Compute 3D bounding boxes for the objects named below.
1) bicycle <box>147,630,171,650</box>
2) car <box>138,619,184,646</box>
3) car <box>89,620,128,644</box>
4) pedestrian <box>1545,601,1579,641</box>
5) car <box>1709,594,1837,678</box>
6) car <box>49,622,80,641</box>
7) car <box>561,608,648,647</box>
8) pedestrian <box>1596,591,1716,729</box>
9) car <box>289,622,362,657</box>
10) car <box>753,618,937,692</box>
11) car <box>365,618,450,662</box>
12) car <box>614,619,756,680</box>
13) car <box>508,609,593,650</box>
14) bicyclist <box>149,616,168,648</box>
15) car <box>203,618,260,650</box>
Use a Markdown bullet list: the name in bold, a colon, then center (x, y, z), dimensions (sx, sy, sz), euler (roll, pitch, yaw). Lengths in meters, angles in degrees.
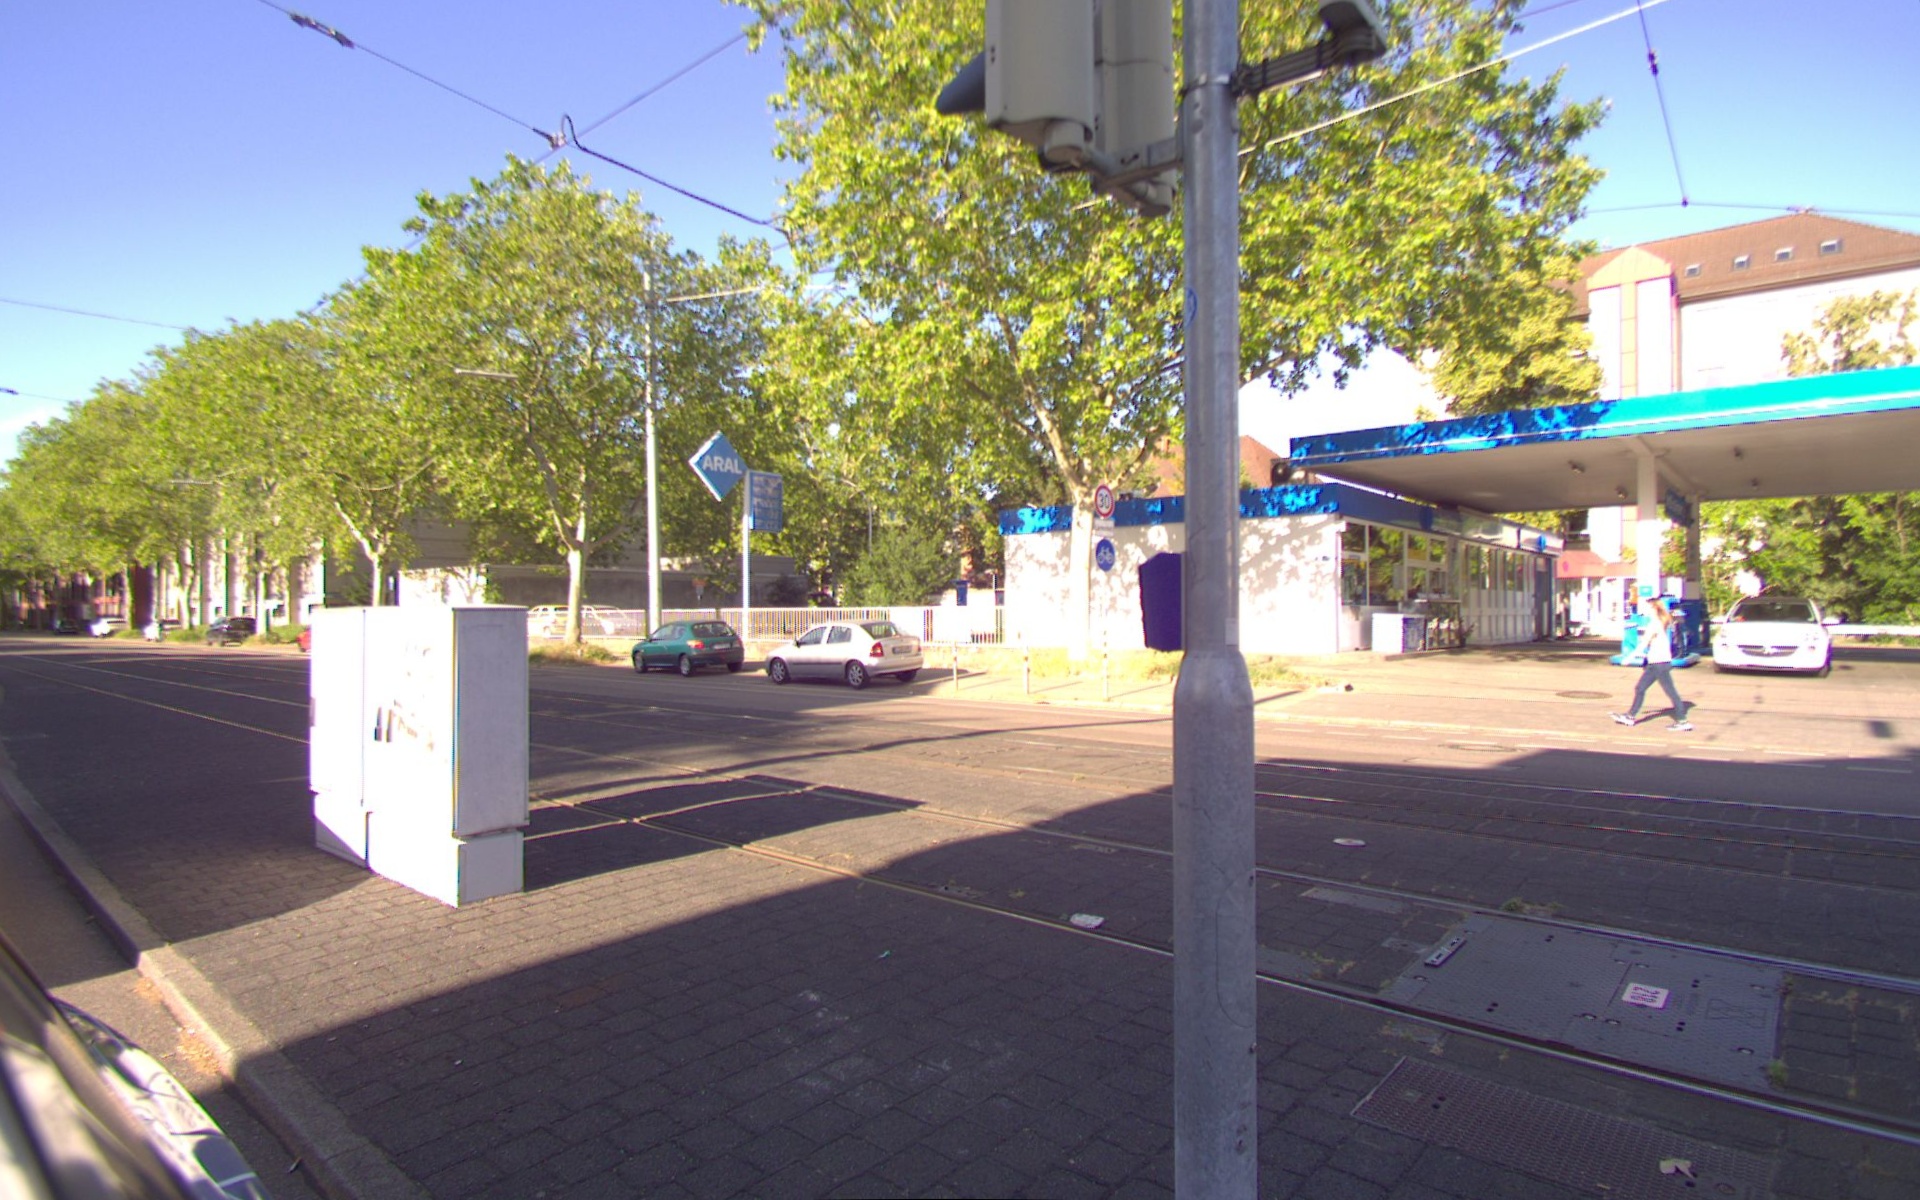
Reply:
- **bicycle**: center (-47.410, 2.338, 59.895), dimensions (2.532, 1.129, 0.645), euler (-1, -1, 41)
- **car**: center (-53.845, 2.158, 68.197), dimensions (4.098, 1.686, 1.821), euler (-1, 1, 44)
- **car**: center (-66.949, 2.486, 79.569), dimensions (4.098, 1.686, 1.821), euler (-1, 1, 44)
- **pedestrian**: center (27.964, 0.974, 47.008), dimensions (1.178, 1.842, 1.045), euler (-1, -2, 41)
- **car**: center (16.011, 0.657, 19.889), dimensions (1.780, 1.475, 3.946), euler (-1, -1, 40)
- **car**: center (-85.046, 2.944, 96.091), dimensions (4.098, 1.686, 1.821), euler (-1, 1, 44)
- **car**: center (-15.397, 1.171, 43.766), dimensions (3.999, 1.545, 1.822), euler (-1, 1, 42)
- **pedestrian**: center (8.673, 0.722, 12.626), dimensions (0.705, 1.631, 1.107), euler (1, -2, -45)
- **car**: center (-28.969, 1.772, 46.173), dimensions (4.001, 1.418, 1.821), euler (-1, 1, 44)
- **car**: center (-2.625, 1.176, 22.640), dimensions (3.997, 1.418, 1.823), euler (-1, 1, 40)
- **car**: center (-21.968, 1.539, 40.180), dimensions (4.002, 1.545, 1.820), euler (-1, 1, 45)
- **car**: center (-7.432, 1.274, 27.129), dimensions (4.138, 1.418, 1.820), euler (-1, 1, 45)
- **car**: center (-17.138, 1.194, 42.274), dimensions (4.002, 1.545, 1.820), euler (-1, 1, 45)
- **bicyclist**: center (-47.416, 1.894, 59.867), dimensions (1.070, 1.878, 0.711), euler (-1, -2, 41)
- **car**: center (-40.661, 1.883, 56.474), dimensions (4.098, 1.628, 1.821), euler (-1, 1, 44)
